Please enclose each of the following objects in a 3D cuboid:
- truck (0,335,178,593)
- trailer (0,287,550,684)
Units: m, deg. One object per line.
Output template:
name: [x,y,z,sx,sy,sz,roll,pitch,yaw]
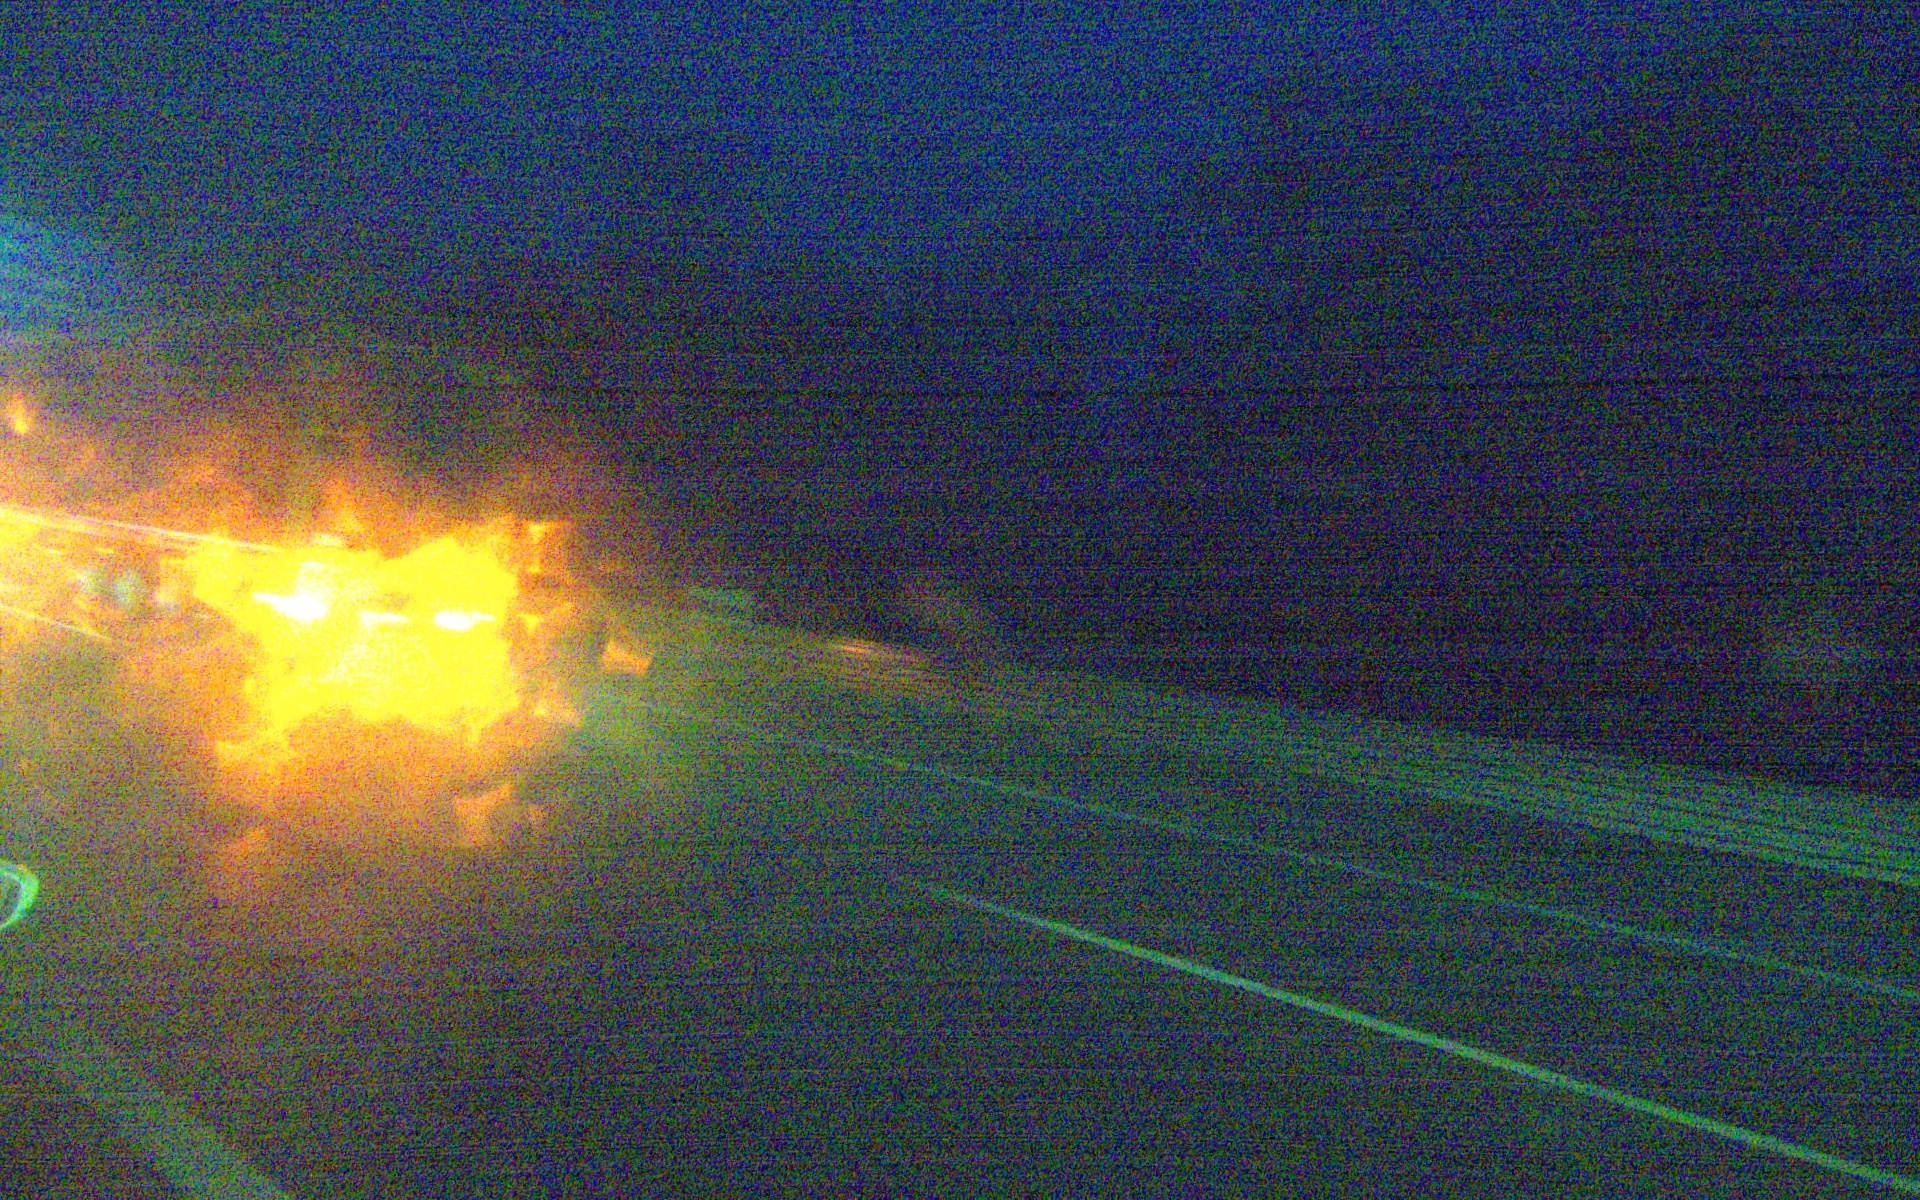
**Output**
truck: [-18.090,-2.589,19.149,5.702,4.162,3.043,7,2,32]
trailer: [-12.065,-1.827,15.425,13.599,4.162,3.043,7,2,32]
